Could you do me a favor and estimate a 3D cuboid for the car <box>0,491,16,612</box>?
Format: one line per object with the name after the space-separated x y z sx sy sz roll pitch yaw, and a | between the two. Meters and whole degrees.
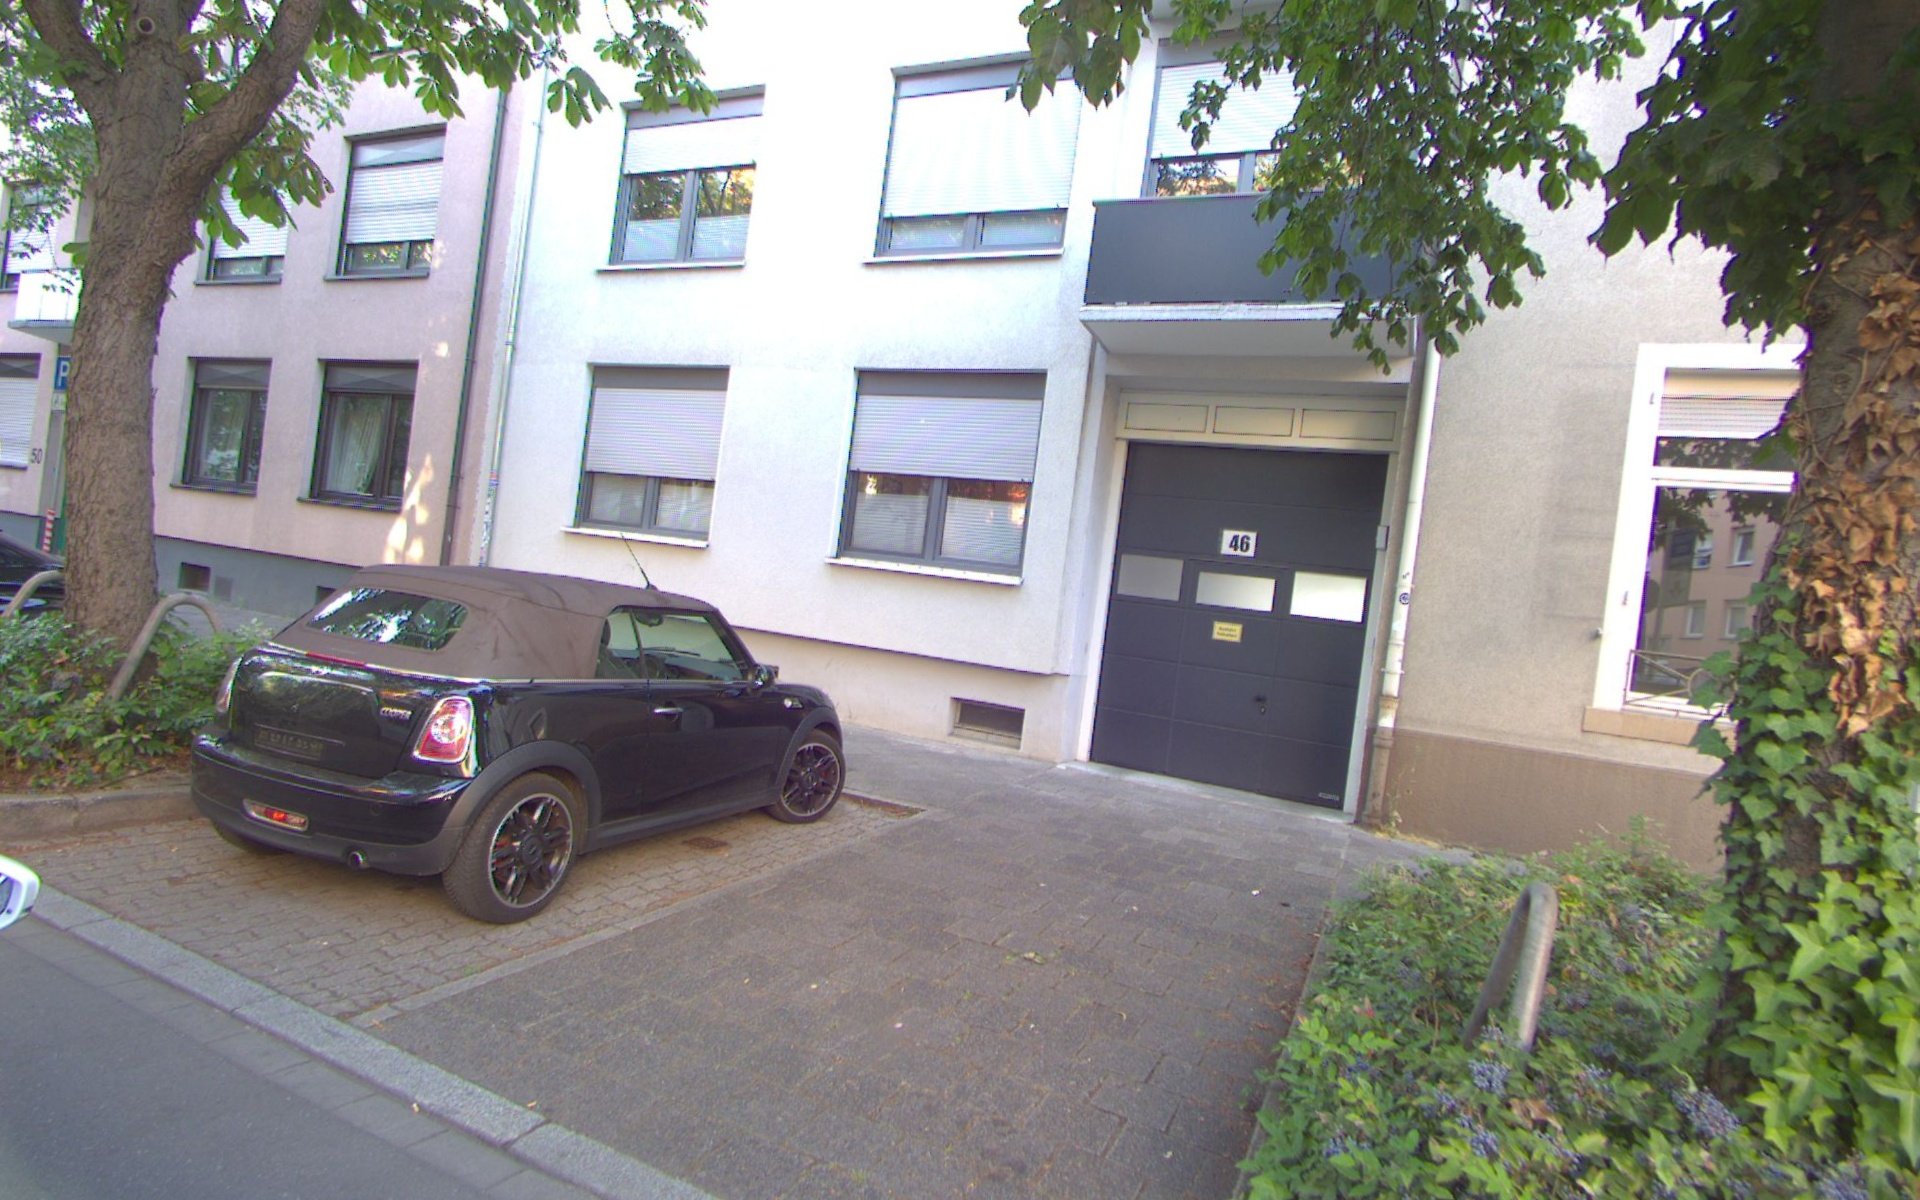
-13.340 -0.807 11.044 1.634 1.494 3.921 7 -1 24 | car

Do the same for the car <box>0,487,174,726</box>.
-7.571 -0.171 5.509 1.771 1.497 4.750 7 -1 34 | car

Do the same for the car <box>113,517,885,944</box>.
-2.010 0.548 5.532 1.634 1.380 3.622 7 -1 22 | car
